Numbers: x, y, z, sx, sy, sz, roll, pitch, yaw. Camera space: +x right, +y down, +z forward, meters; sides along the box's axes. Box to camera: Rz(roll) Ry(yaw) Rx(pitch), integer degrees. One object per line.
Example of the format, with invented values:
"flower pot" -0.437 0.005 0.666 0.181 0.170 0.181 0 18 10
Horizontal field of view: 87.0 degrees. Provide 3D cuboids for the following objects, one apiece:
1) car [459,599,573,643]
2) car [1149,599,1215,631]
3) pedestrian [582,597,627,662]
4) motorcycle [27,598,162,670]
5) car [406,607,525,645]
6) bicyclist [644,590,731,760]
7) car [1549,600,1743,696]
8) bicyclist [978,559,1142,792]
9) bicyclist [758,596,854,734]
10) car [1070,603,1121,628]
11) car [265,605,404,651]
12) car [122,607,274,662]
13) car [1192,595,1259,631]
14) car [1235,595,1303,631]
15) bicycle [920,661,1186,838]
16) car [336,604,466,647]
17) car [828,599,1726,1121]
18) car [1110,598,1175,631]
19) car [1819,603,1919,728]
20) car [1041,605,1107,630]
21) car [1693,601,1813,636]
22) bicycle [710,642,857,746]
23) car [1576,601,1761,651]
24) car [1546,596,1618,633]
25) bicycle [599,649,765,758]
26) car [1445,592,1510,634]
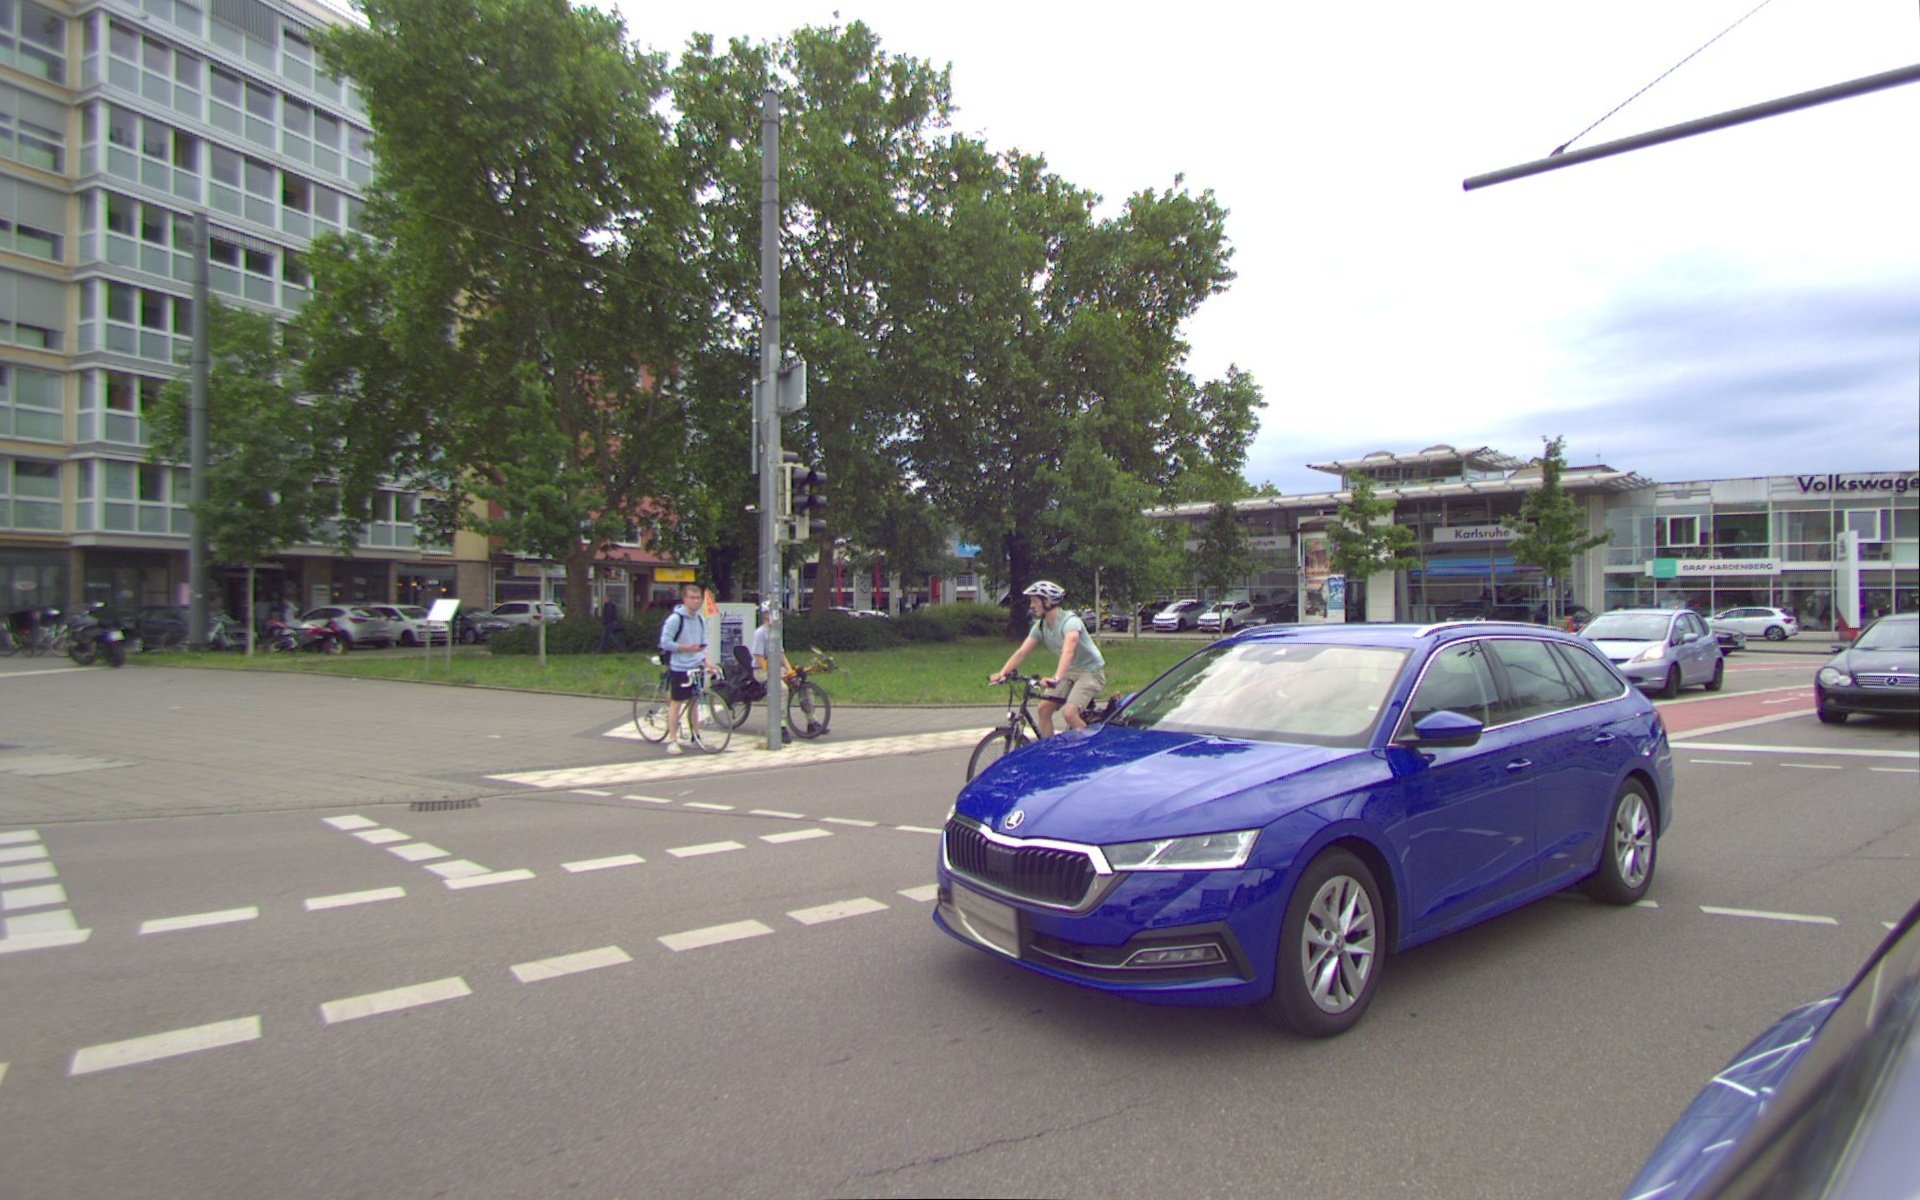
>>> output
"car" -18.137 0.831 41.369 3.944 1.745 1.990 0 0 17
"car" 13.504 0.858 61.459 1.951 1.484 4.166 0 5 44
"pedestrian" -10.369 0.848 29.524 0.860 1.842 0.888 0 -1 33
"motorcycle" -17.616 0.661 20.619 2.261 1.383 1.042 0 1 17
"car" -19.038 0.973 38.995 3.944 1.352 1.828 0 0 16
"bicyclist" -2.986 0.789 11.093 0.728 1.773 0.580 1 1 31
"car" 12.107 0.779 17.792 3.862 1.502 1.708 0 -2 -38
"bicyclist" 0.759 0.540 7.727 0.916 1.639 0.791 0 -2 -37
"bicyclist" -1.838 0.740 12.068 0.881 1.540 0.663 3 2 37
"car" 8.947 1.036 67.007 1.418 1.531 3.113 -6 3 -45
"car" -21.321 0.935 34.545 3.946 1.483 1.988 -1 0 18
"car" -22.452 0.971 29.821 4.121 1.461 1.827 0 0 24
"car" 15.650 0.724 59.566 1.951 1.615 4.167 0 6 44
"car" 17.579 0.700 57.497 1.951 1.472 4.169 0 7 44
"bicycle" 0.739 1.053 7.678 1.978 1.093 0.763 0 -2 -35
"car" -20.482 0.914 37.101 3.944 1.460 1.990 0 0 16
"car" 1.843 0.752 4.972 4.668 1.454 1.770 0 -1 -36
"car" 11.423 0.888 63.225 1.951 1.530 4.167 0 6 44
"car" 12.881 0.756 13.094 4.341 1.388 1.769 -1 -1 -37
"car" 7.378 1.105 65.627 1.628 1.532 4.138 0 0 -45
"car" 34.592 0.783 44.205 1.703 1.459 3.898 0 0 -43
"bicycle" -2.193 1.110 12.401 1.936 1.010 0.594 4 2 37
"car" 24.064 0.817 34.564 1.856 1.563 4.879 0 0 -37
"car" 28.485 0.636 46.470 1.932 1.544 4.203 -1 1 20
"bicycle" -3.086 1.096 11.153 1.976 1.011 0.573 1 1 31
"car" 25.384 0.606 49.554 1.947 1.662 4.613 -1 4 39
